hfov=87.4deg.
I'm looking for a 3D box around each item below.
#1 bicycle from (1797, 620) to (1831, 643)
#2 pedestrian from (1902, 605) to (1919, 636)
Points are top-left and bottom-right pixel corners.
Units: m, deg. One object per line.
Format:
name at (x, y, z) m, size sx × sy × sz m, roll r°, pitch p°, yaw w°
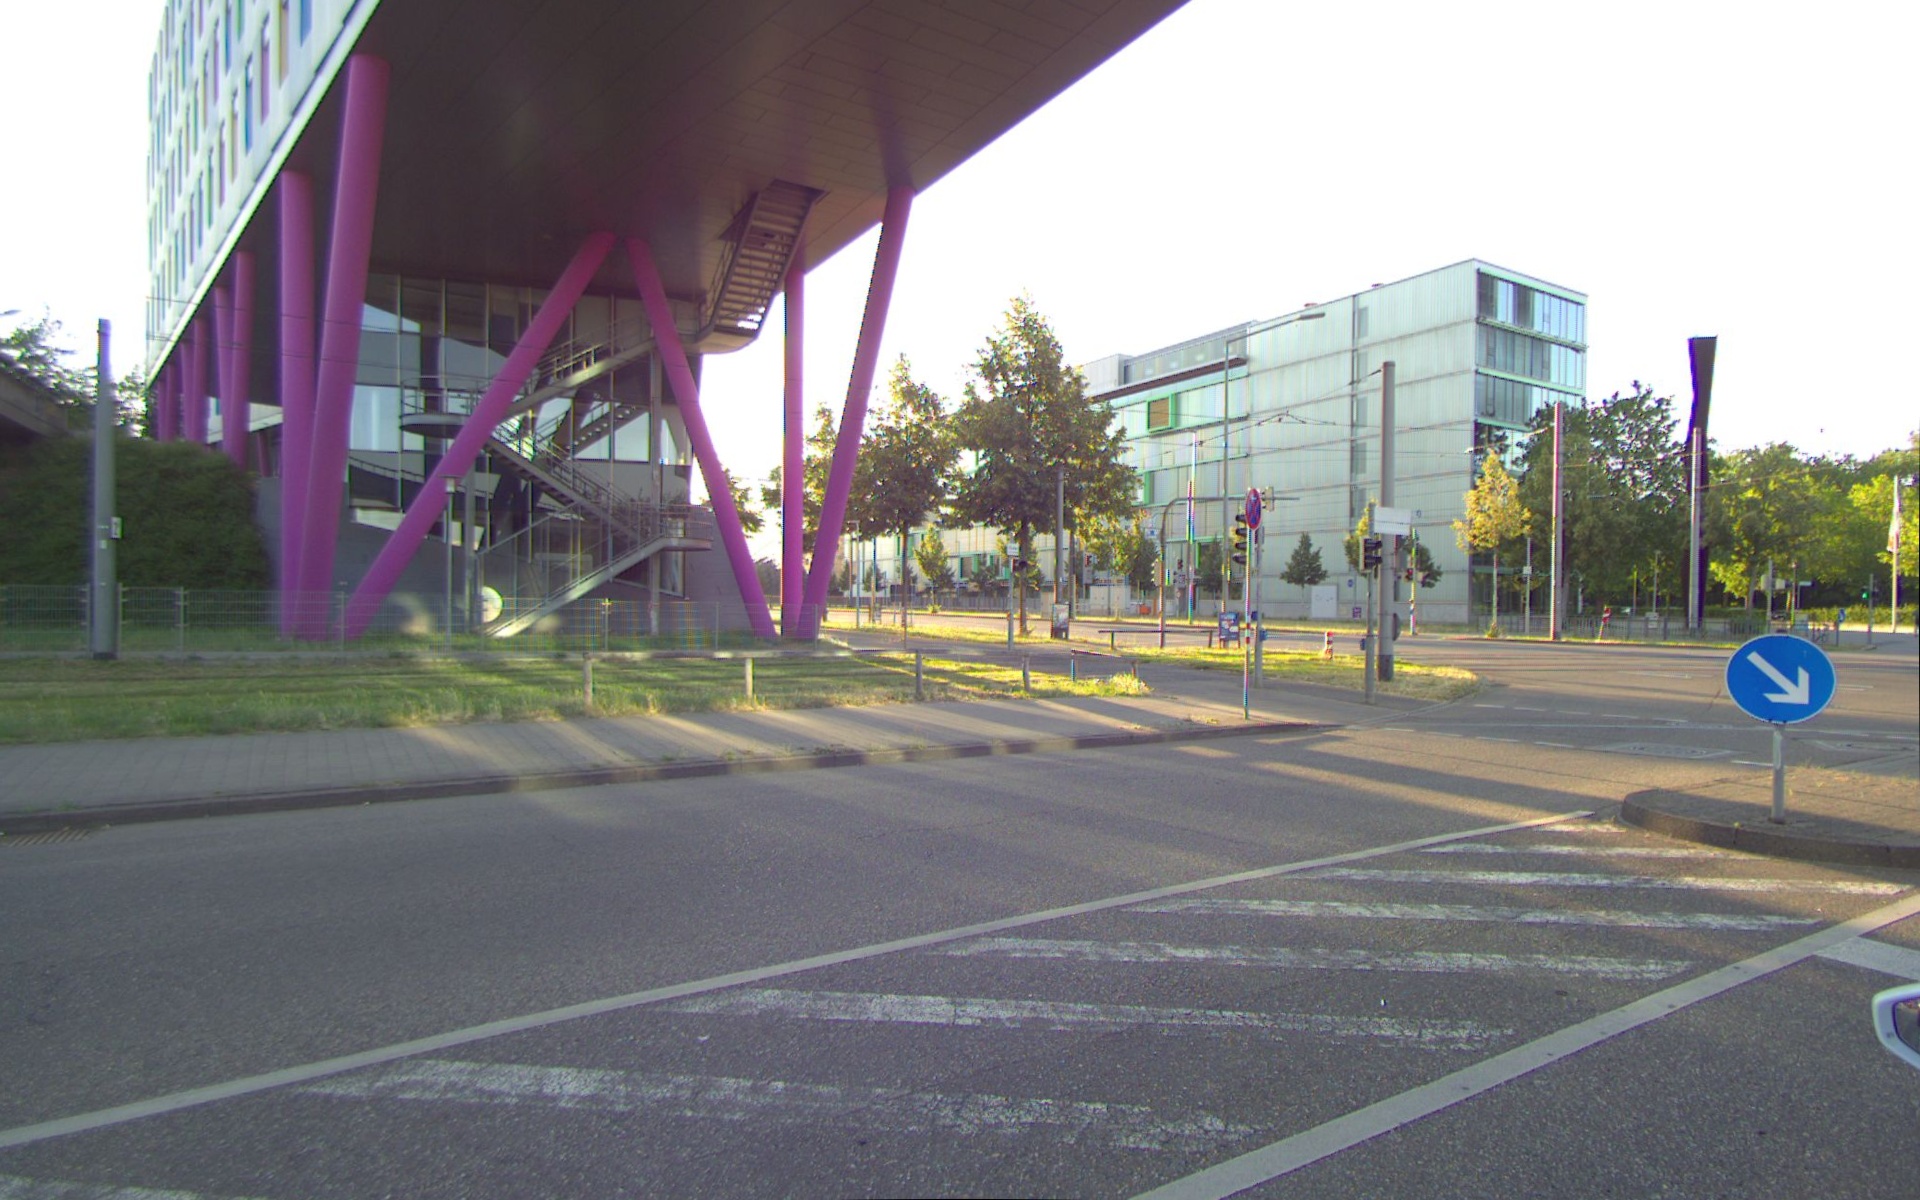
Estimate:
bicycle at (44.033, 1.608, 51.777) m, size 2.367 × 1.151 × 0.695 m, roll 1°, pitch 0°, yaw -33°
pedestrian at (54.830, 1.191, 57.728) m, size 0.882 × 1.778 × 0.718 m, roll 1°, pitch 0°, yaw 35°
